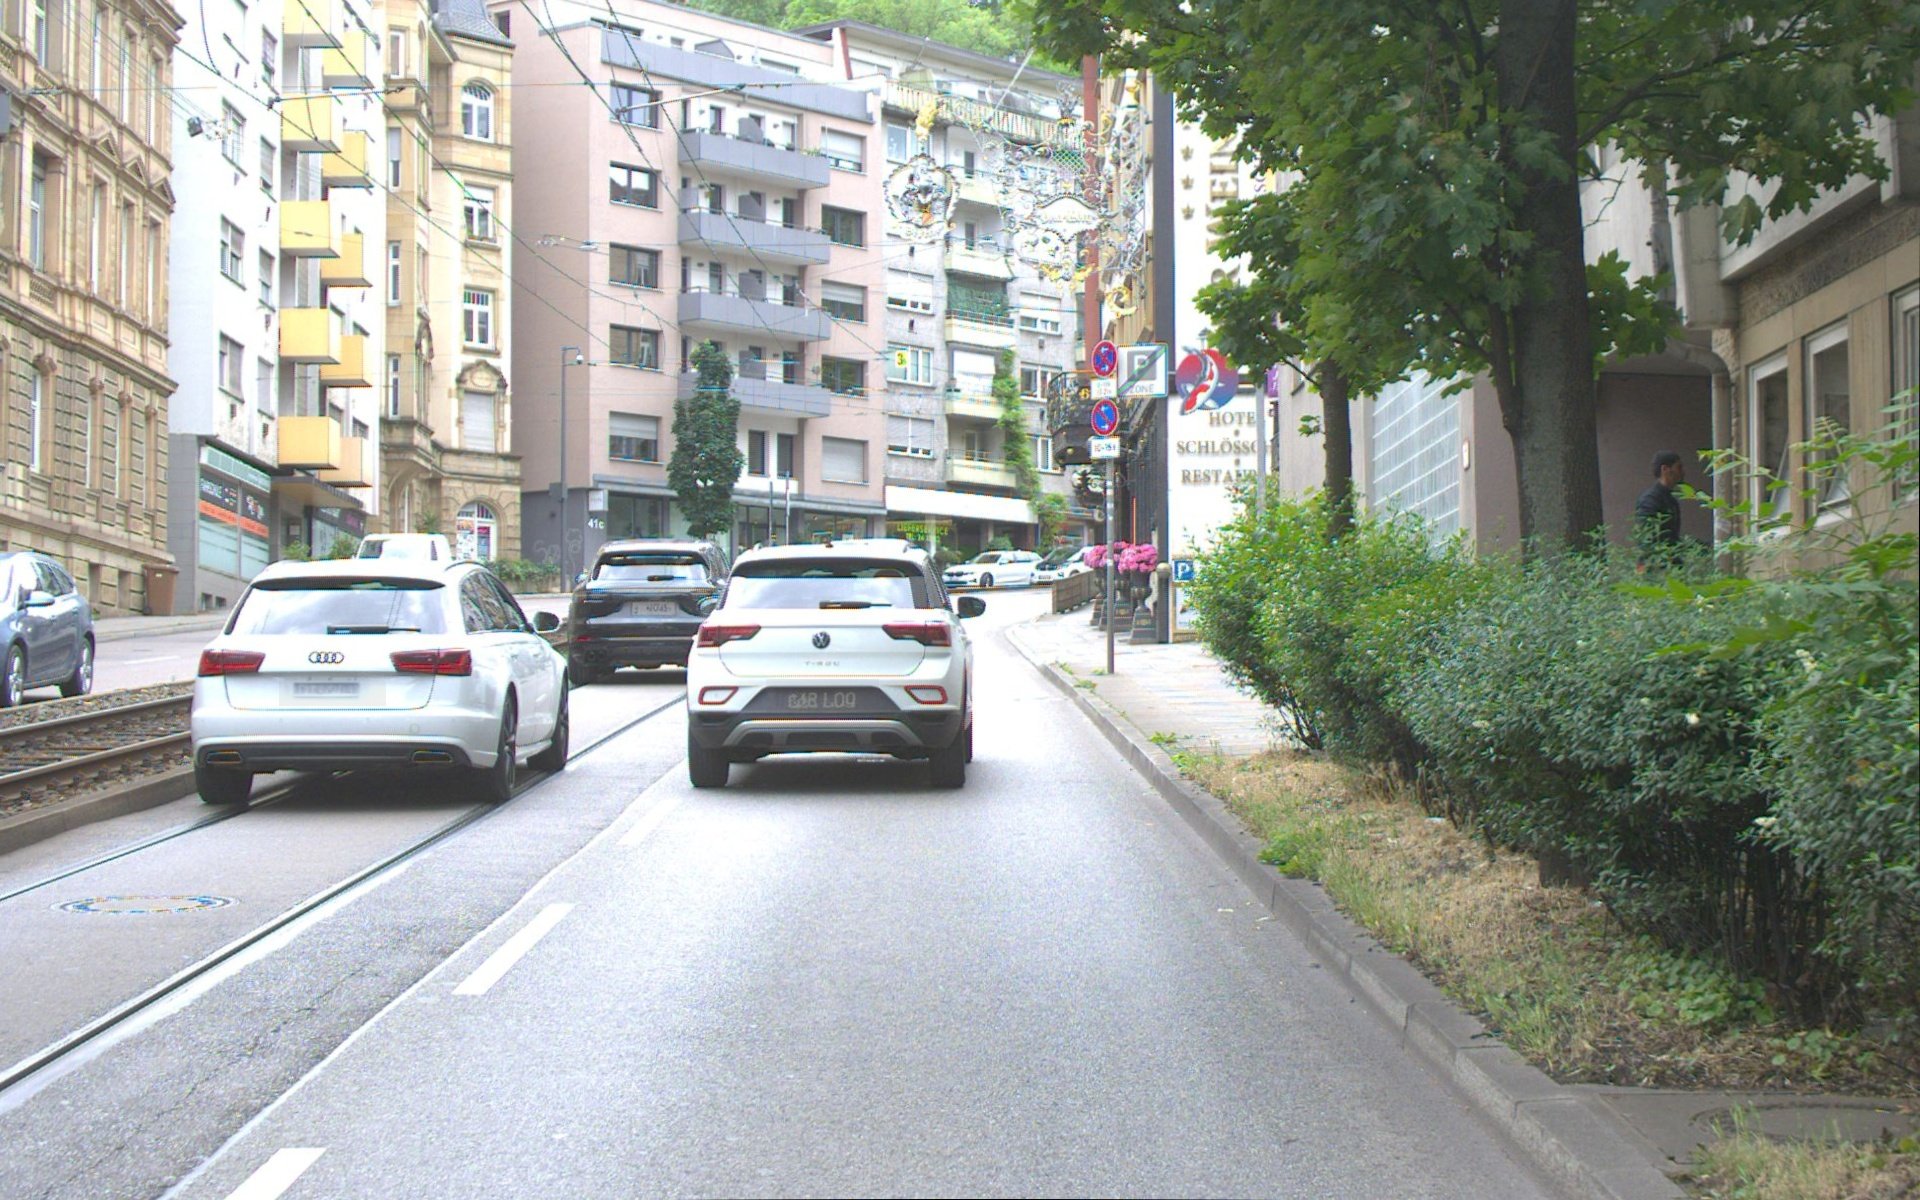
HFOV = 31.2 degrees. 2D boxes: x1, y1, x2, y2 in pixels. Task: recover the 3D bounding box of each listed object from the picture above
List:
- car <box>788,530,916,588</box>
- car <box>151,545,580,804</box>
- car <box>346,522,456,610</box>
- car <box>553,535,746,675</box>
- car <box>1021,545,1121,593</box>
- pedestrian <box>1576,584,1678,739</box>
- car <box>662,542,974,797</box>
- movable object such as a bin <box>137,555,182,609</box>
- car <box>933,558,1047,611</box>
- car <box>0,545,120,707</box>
[{"bbox_3d":[-3.800,-1.453,122.040,1.998,2.028,4.691,1,1,38],"label":"car"},{"bbox_3d":[-3.617,0.409,21.750,1.879,1.450,4.617,-1,0,0],"label":"car"},{"bbox_3d":[-12.536,-0.793,77.421,1.957,1.894,5.319,0,1,-4],"label":"car"},{"bbox_3d":[-3.640,0.018,40.961,2.038,1.566,4.359,0,1,-2],"label":"car"},{"bbox_3d":[4.117,-1.163,126.757,1.797,1.722,3.992,1,1,35],"label":"car"},{"bbox_3d":[4.228,0.382,21.818,0.525,0.961,0.607,0,1,0],"label":"pedestrian"},{"bbox_3d":[-0.861,0.394,23.072,1.879,1.549,4.000,0,1,1],"label":"car"},{"bbox_3d":[-16.235,-0.370,69.749,0.770,1.070,0.561,0,1,0],"label":"movable object such as a bin"},{"bbox_3d":[1.122,-0.586,127.421,1.908,1.916,4.425,1,1,39],"label":"car"},{"bbox_3d":[-9.572,0.198,33.171,1.843,1.450,4.661,0,1,-1],"label":"car"}]
